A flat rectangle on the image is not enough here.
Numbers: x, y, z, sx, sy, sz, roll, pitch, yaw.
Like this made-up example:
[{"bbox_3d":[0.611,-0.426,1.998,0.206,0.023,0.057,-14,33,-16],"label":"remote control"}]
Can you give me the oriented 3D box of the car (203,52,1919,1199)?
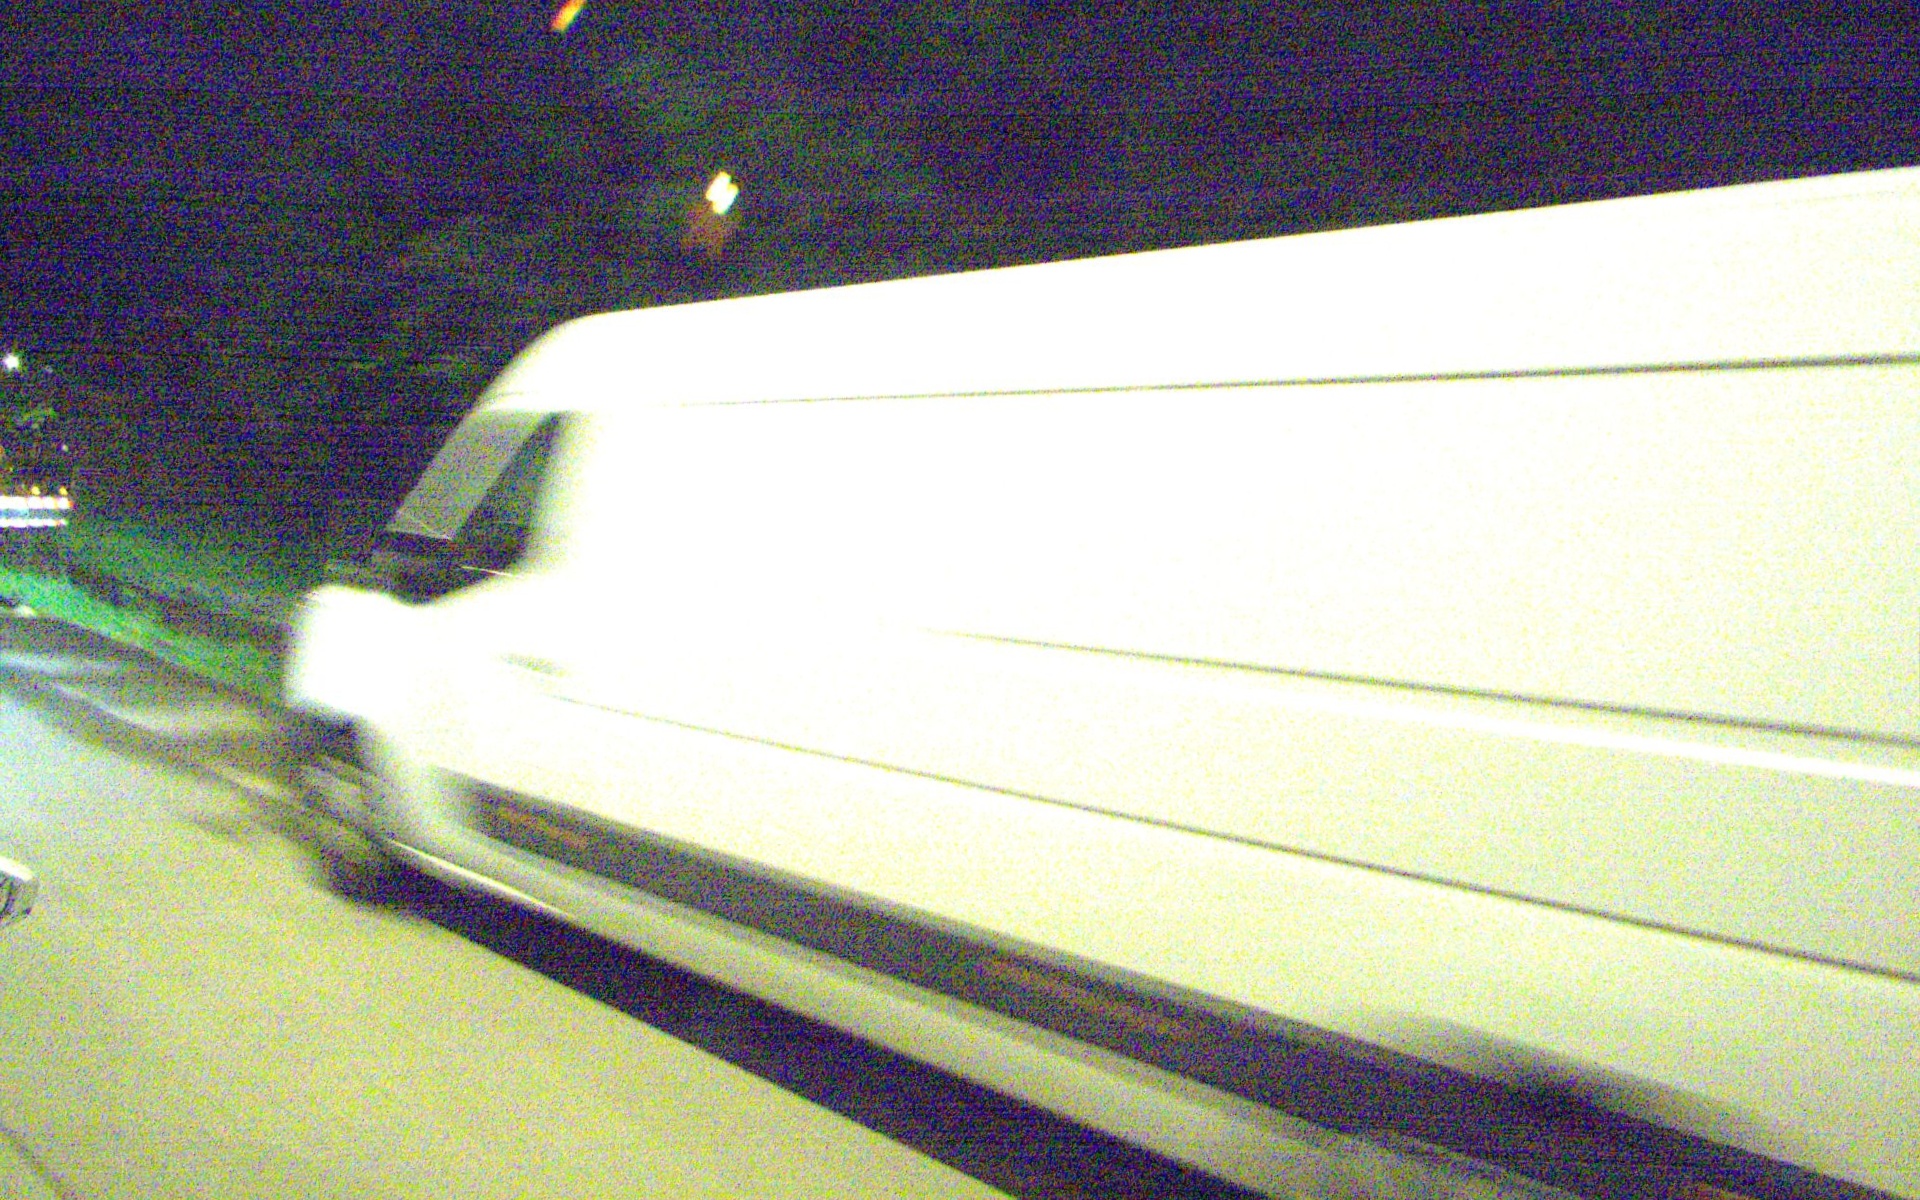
[{"bbox_3d":[-0.051,0.240,3.732,6.265,2.548,2.111,7,1,31],"label":"car"}]
